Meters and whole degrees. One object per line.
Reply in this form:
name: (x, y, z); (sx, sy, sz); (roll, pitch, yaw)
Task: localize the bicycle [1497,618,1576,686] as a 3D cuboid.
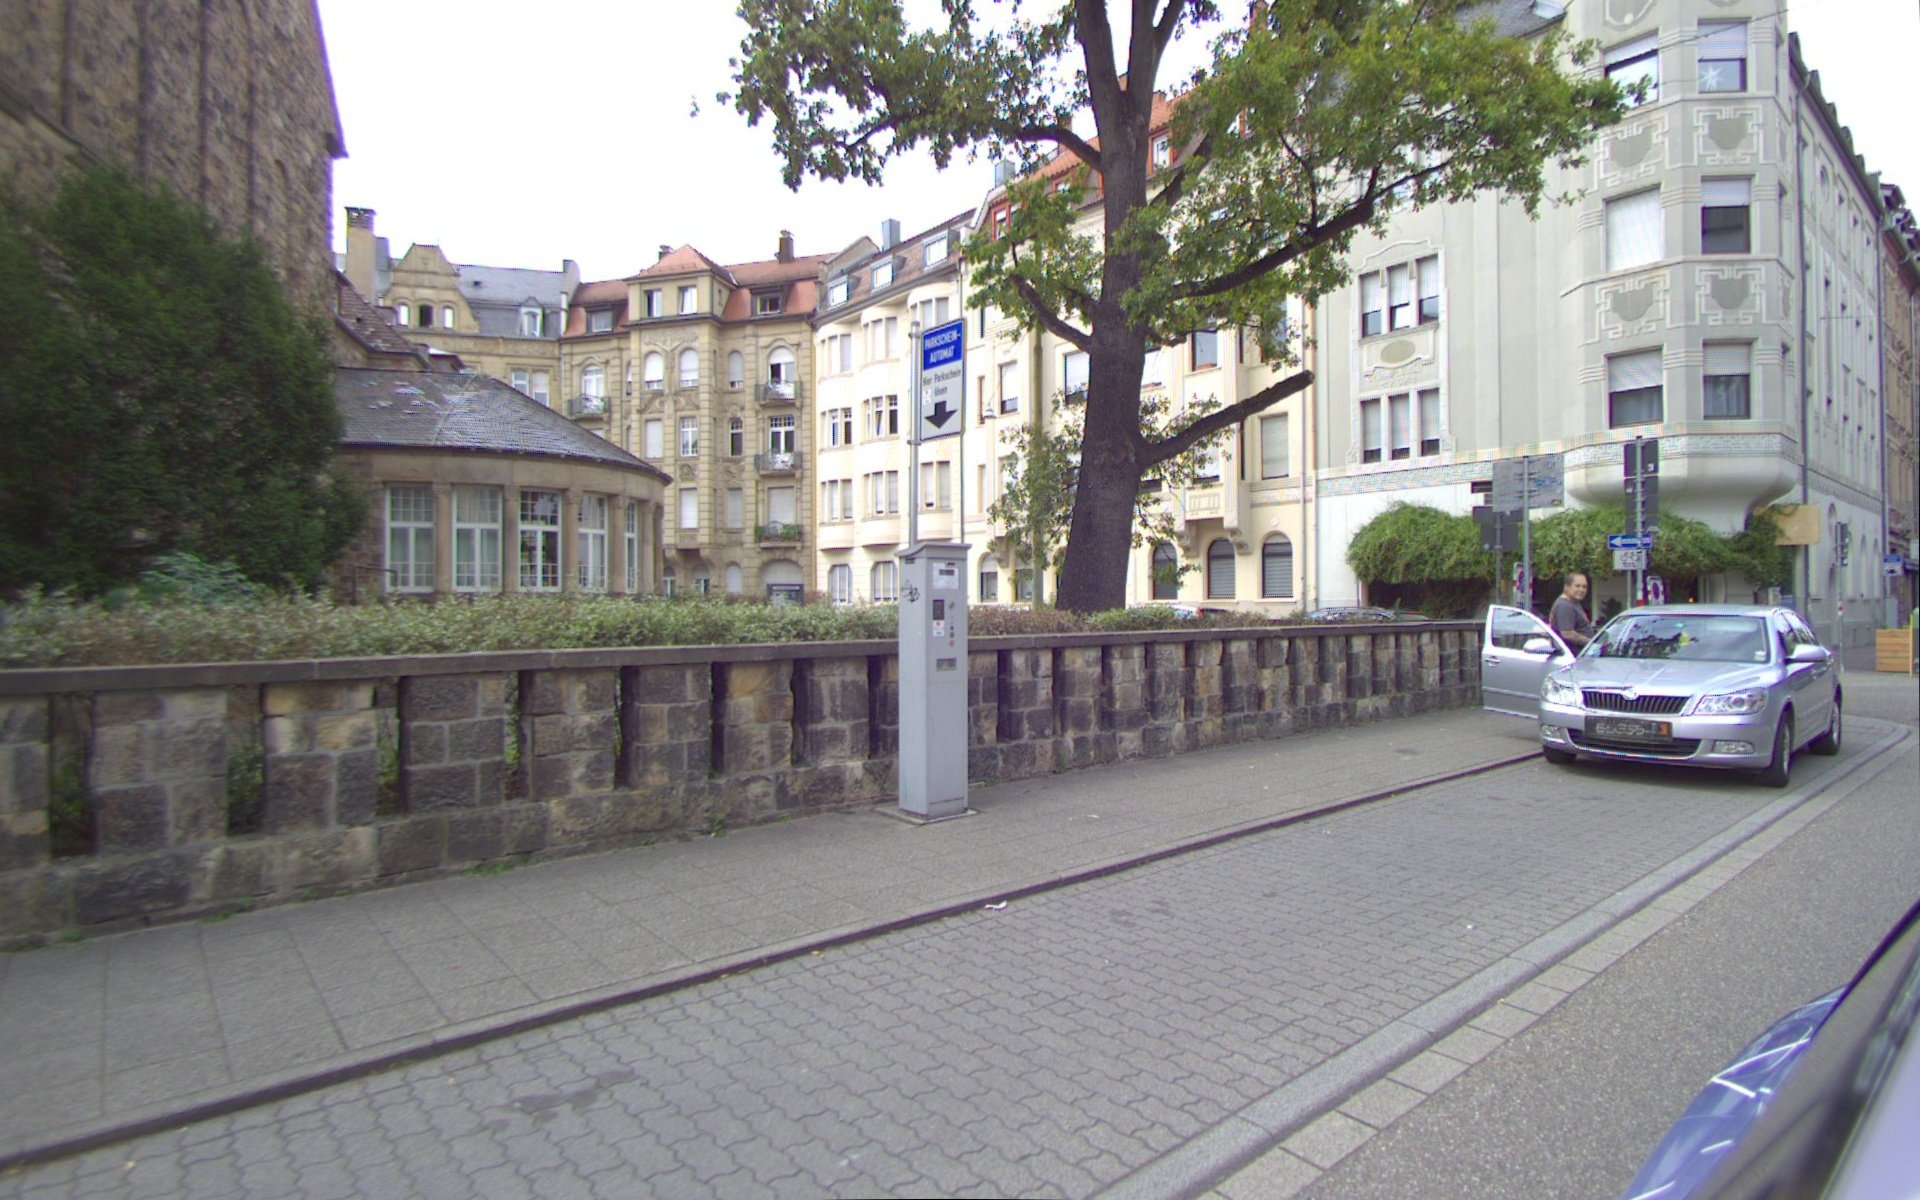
bicycle: (9.399, 0.833, 16.464); (1.787, 1.064, 0.523); (2, -2, -40)

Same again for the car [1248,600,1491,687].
car: (7.777, 0.760, 19.601); (1.871, 1.488, 4.039); (0, 0, -31)

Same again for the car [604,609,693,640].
car: (-15.745, 1.224, 51.175); (4.094, 1.396, 1.628); (-3, -1, 16)

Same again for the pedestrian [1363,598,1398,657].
pedestrian: (10.913, 0.704, 26.245); (0.624, 1.477, 0.548); (-4, 2, -39)

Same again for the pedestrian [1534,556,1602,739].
pedestrian: (6.056, 0.457, 10.082); (0.403, 1.757, 0.468); (0, -1, -41)

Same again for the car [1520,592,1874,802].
car: (6.906, 0.691, 9.301); (4.342, 1.487, 1.757); (0, 0, -42)

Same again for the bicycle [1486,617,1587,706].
bicycle: (7.773, 0.792, 13.621); (1.943, 1.119, 0.523); (1, -1, -40)

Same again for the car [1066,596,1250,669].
car: (4.562, 0.745, 23.783); (1.813, 1.555, 4.033); (4, -2, -38)

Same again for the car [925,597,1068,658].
car: (0.953, 0.756, 28.342); (1.813, 1.555, 4.033); (4, -2, -38)
